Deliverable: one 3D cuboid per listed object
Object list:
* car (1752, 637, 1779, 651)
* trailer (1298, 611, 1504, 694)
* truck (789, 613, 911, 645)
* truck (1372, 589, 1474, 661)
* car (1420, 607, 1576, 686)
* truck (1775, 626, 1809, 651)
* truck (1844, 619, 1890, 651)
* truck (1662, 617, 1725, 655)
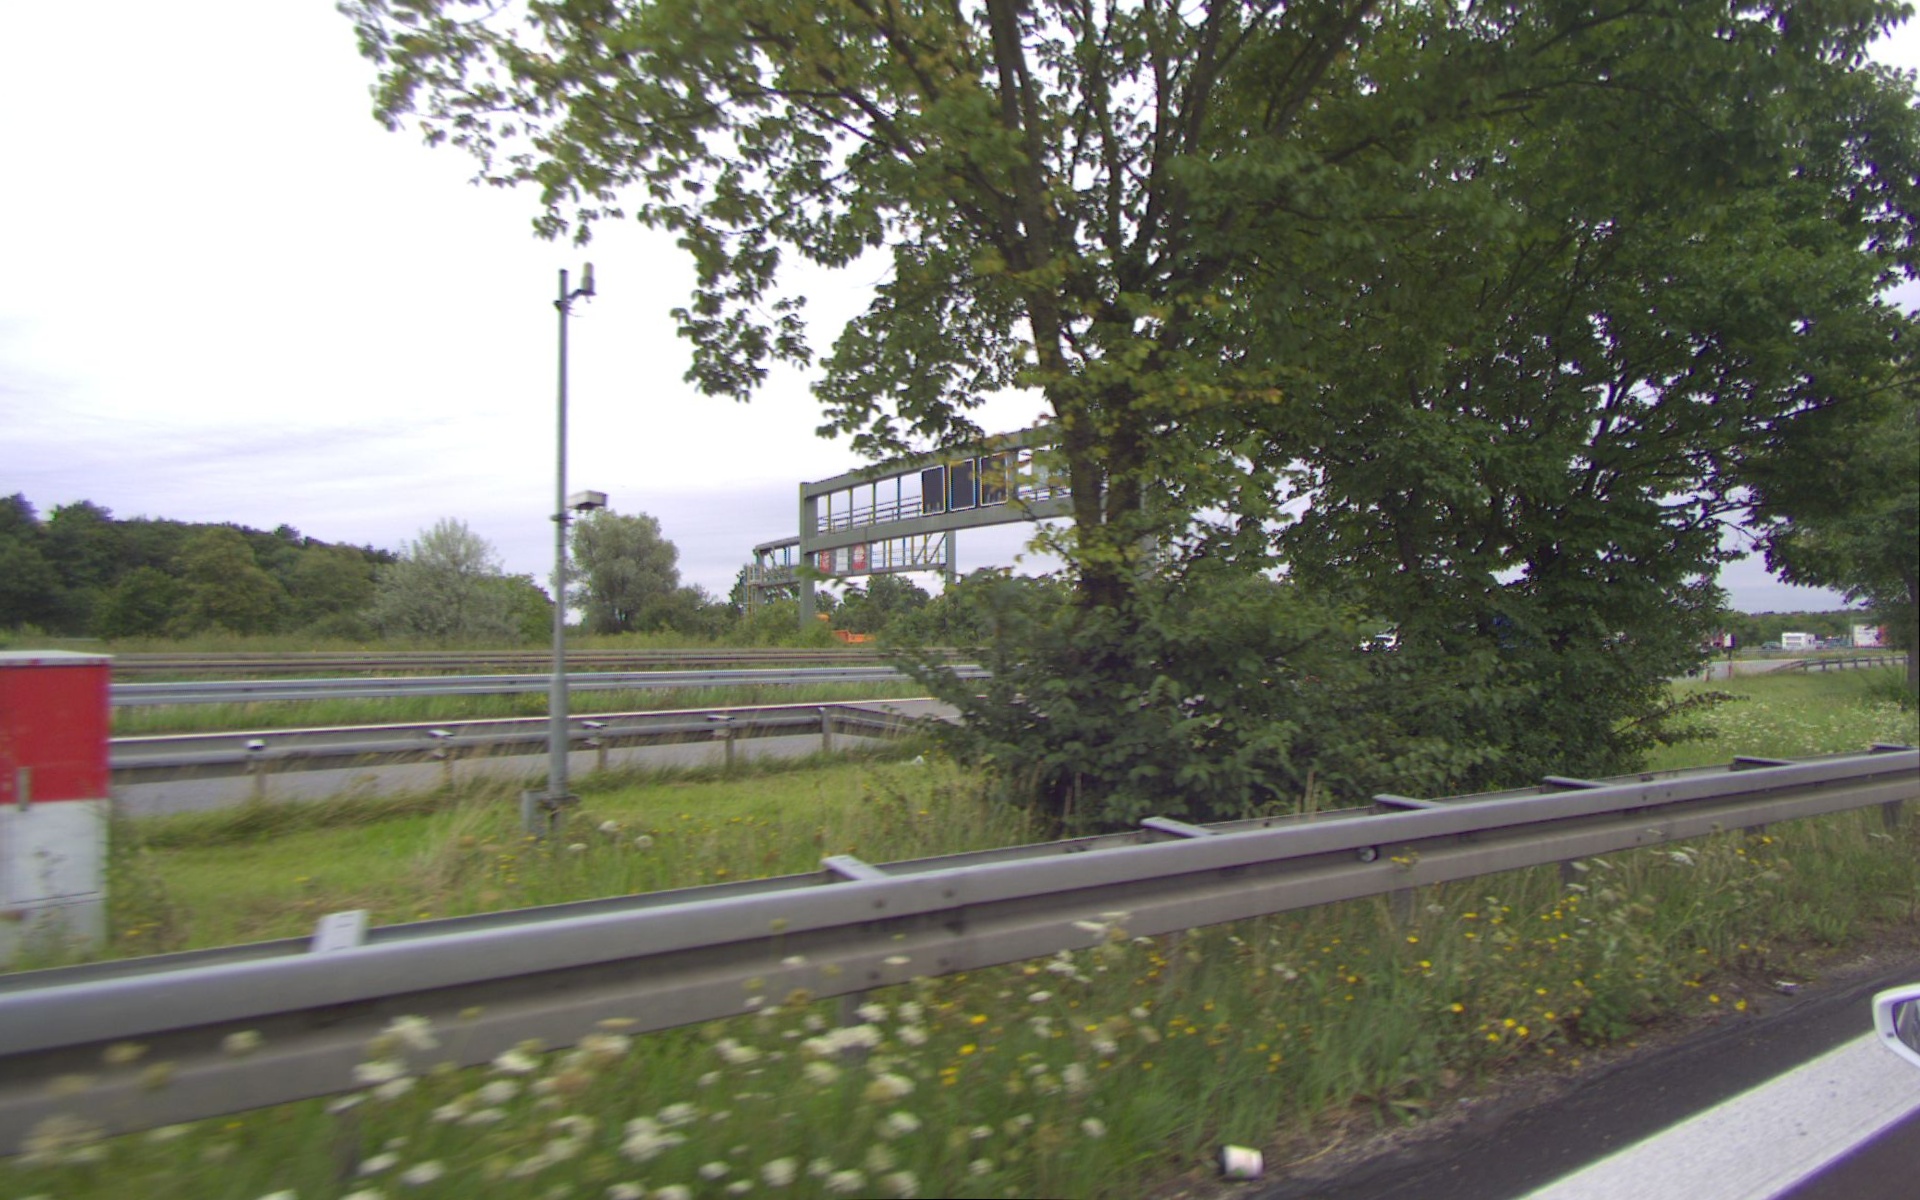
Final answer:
[{"bbox_3d":[98.507,5.367,122.830,3.968,1.595,1.870,3,-2,-40],"label":"car"},{"bbox_3d":[12.291,1.373,27.650,7.008,2.021,2.463,2,-2,-41],"label":"trailer"},{"bbox_3d":[-7.493,2.064,69.711,8.738,2.040,1.978,2,-2,-39],"label":"truck"},{"bbox_3d":[26.680,1.480,57.752,7.288,3.862,2.615,3,-2,-41],"label":"truck"},{"bbox_3d":[17.219,1.430,31.987,6.208,2.296,2.352,2,-1,-41],"label":"car"},{"bbox_3d":[97.085,4.485,117.243,5.237,2.740,2.224,2,-1,-41],"label":"truck"},{"bbox_3d":[129.606,4.959,143.518,10.114,4.476,3.701,2,-1,-41],"label":"truck"},{"bbox_3d":[67.900,3.328,92.905,8.562,3.409,2.832,2,-2,-41],"label":"truck"}]
